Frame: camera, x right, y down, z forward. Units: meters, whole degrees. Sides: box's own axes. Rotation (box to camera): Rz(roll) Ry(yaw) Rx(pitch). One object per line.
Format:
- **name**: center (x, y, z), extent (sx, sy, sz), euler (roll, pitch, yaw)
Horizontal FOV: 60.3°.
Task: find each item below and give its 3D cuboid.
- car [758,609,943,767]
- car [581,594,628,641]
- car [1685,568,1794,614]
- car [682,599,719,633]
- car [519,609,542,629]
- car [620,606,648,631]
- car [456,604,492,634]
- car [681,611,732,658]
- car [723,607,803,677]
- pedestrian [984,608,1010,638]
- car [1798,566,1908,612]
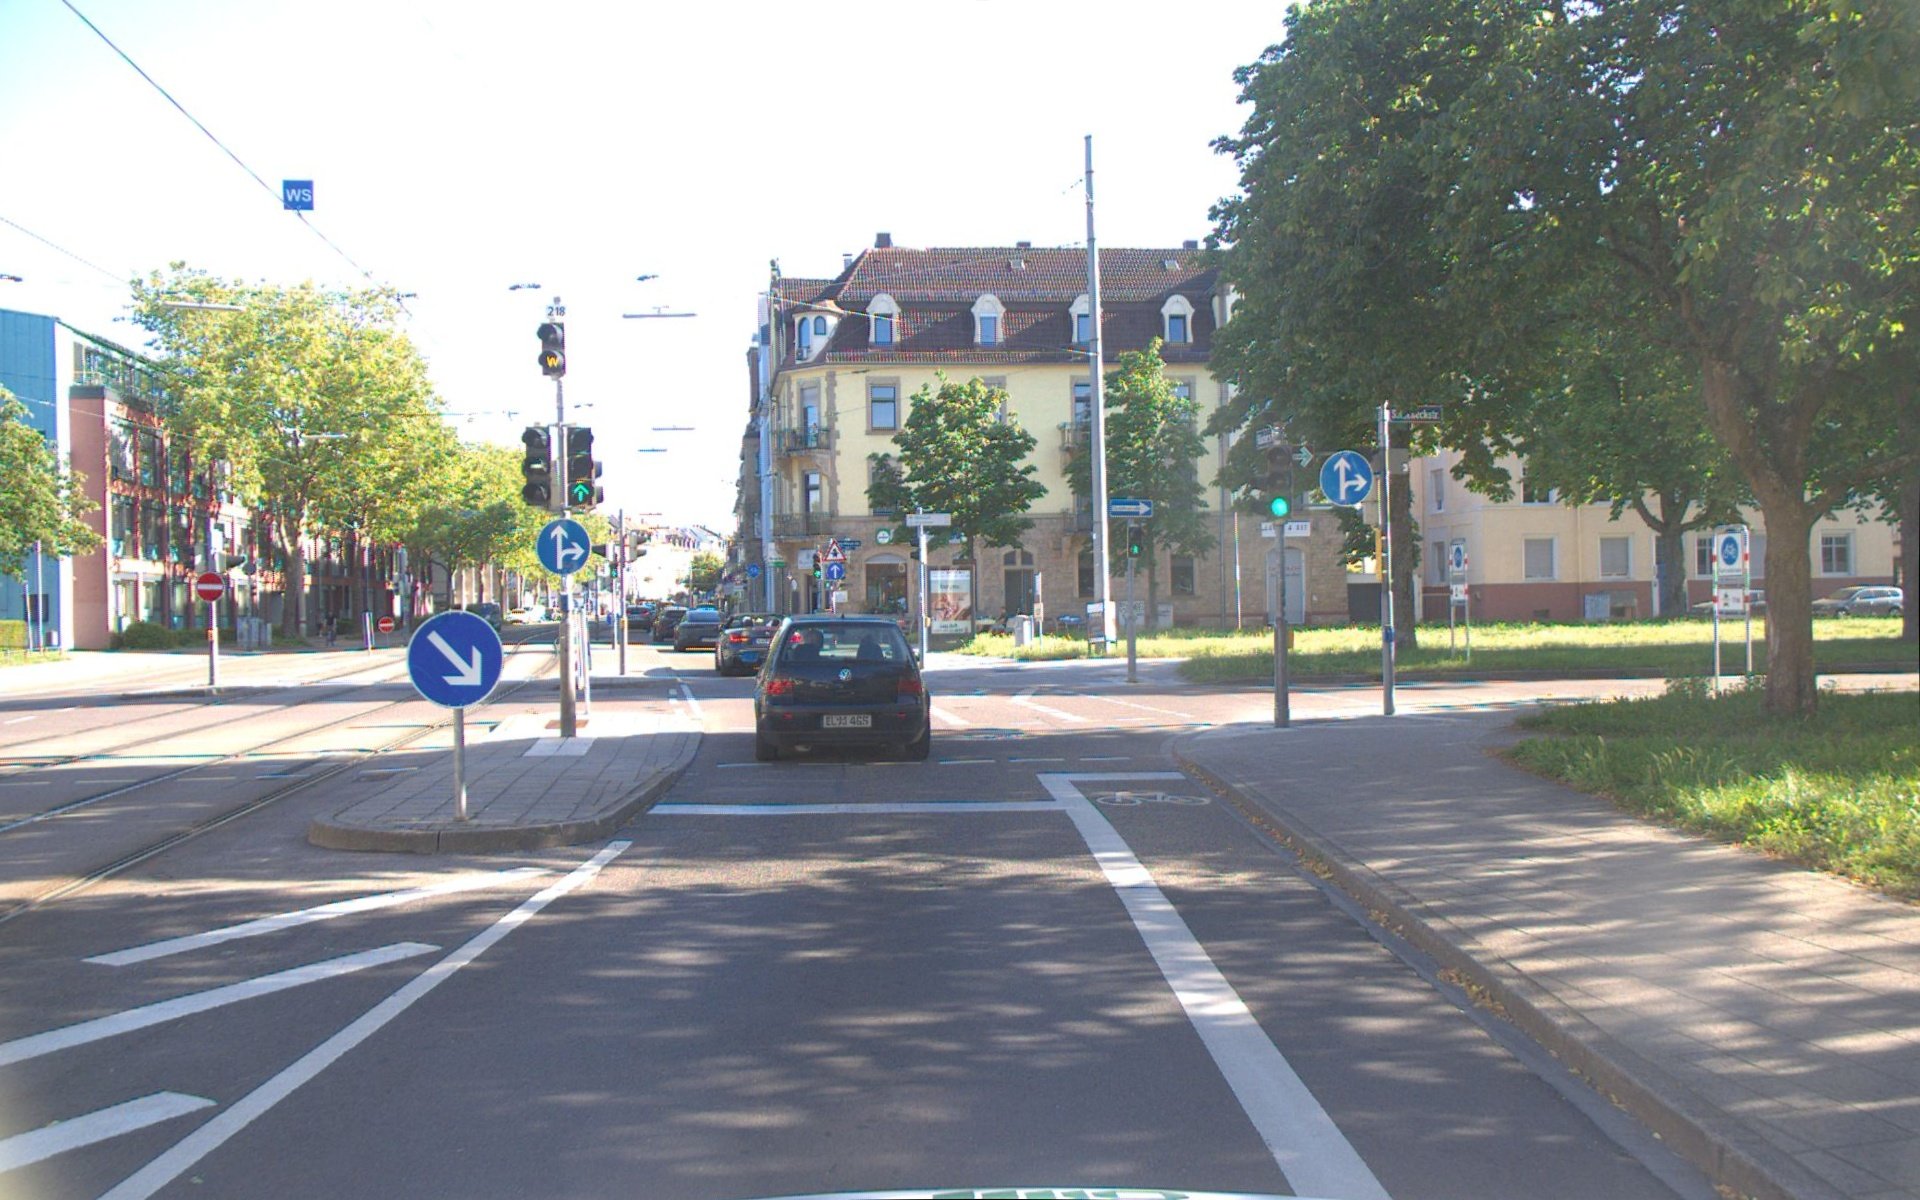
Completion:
- **car**: center (-1.187, 0.811, 17.069), extent (1.683, 1.427, 4.001), euler (0, 0, -6)
- **car**: center (-14.781, 0.719, 68.929), extent (1.755, 1.892, 3.990), euler (-1, 0, -10)
- **car**: center (33.439, -0.376, 71.010), extent (3.881, 1.847, 1.758), euler (-1, 0, -7)
- **car**: center (-11.639, 0.707, 74.133), extent (1.541, 1.334, 3.492), euler (-2, 2, -10)
- **car**: center (-45.039, 1.976, 173.475), extent (1.957, 2.049, 3.990), euler (-1, -1, -10)
- **car**: center (-20.187, 1.119, 102.517), extent (1.651, 1.479, 3.370), euler (-2, 0, -11)
- **car**: center (-31.129, 1.210, 106.064), extent (1.938, 1.847, 4.282), euler (-2, 0, -13)
- **car**: center (-8.618, 1.132, 56.078), extent (1.542, 1.334, 3.638), euler (-2, 2, -11)
- **car**: center (-4.324, 0.880, 36.084), extent (1.604, 1.396, 3.750), euler (-2, 0, -8)
- **pedestrian**: center (1.543, 0.953, 69.475), extent (0.962, 1.208, 0.742), euler (-1, 0, -10)
- **car**: center (38.630, -0.481, 71.598), extent (3.881, 1.847, 1.758), euler (-1, 0, -7)
